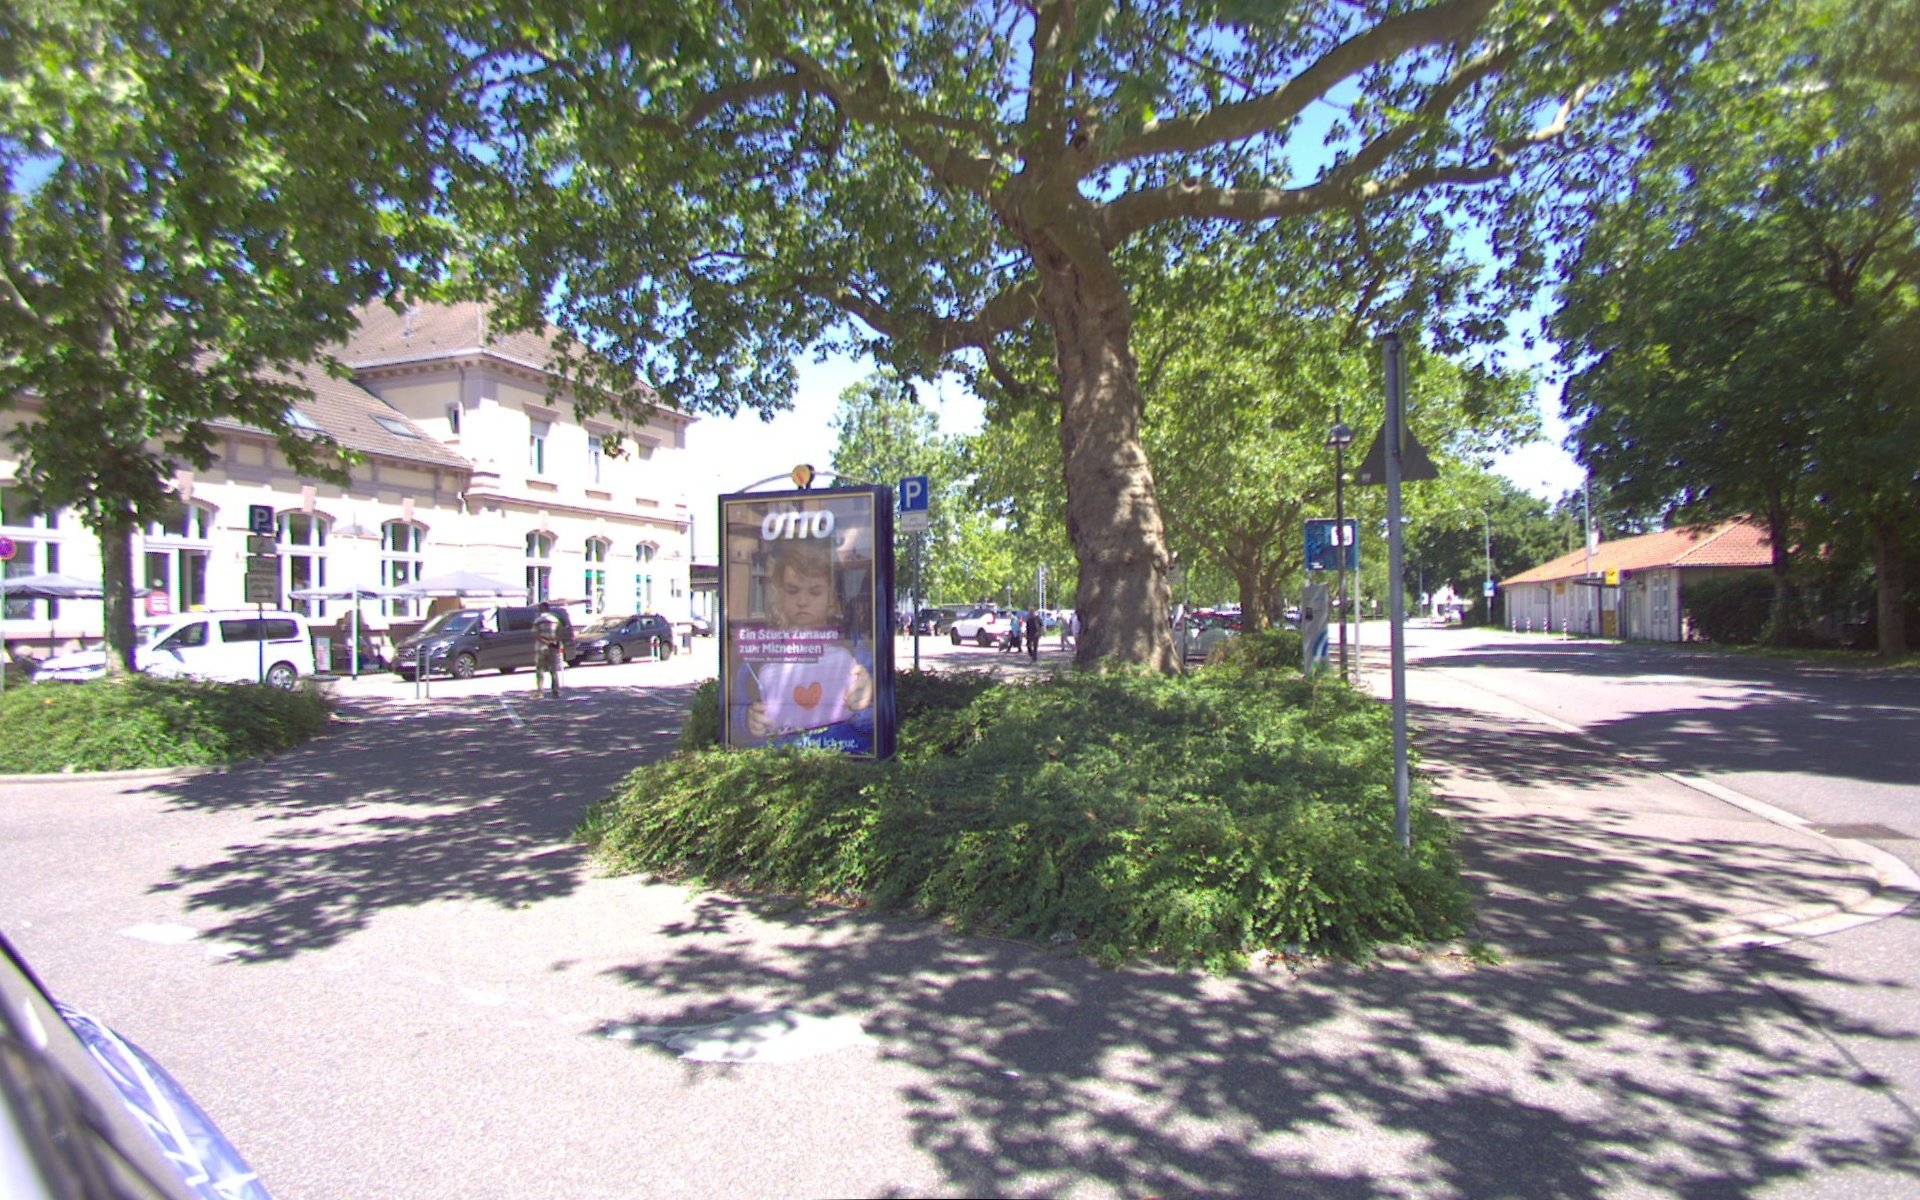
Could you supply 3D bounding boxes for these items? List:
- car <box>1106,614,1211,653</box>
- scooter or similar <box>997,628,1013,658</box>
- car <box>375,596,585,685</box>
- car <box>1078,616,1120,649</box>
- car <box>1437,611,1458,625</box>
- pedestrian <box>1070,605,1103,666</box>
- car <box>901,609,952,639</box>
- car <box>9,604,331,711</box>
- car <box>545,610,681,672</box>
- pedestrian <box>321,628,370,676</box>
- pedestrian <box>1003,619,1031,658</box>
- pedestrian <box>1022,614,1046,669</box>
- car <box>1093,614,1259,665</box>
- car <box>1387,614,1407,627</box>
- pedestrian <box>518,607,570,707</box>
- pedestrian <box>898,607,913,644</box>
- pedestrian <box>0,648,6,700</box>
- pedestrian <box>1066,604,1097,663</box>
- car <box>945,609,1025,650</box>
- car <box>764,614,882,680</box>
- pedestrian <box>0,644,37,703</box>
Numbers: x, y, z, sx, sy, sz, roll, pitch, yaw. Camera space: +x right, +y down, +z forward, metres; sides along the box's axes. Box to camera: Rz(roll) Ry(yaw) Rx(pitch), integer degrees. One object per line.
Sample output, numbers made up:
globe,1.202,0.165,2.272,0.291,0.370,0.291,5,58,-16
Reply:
car,8.042,1.345,41.114,3.814,1.471,1.640,-1,-1,-9
scooter or similar,1.689,1.616,38.318,0.431,1.110,0.404,0,-2,-42
car,-12.938,1.084,27.833,2.073,2.140,5.800,-2,-2,13
car,8.517,1.979,62.231,1.712,1.908,4.004,-1,-1,-5
car,64.997,2.412,134.957,1.884,1.788,3.977,-1,-1,17
pedestrian,3.795,1.061,30.453,0.827,1.784,0.852,-1,-1,-1
car,-2.195,1.614,68.110,1.985,1.803,4.220,-4,-1,19
car,-15.765,1.102,20.633,1.799,1.880,5.111,-2,-2,16
car,-11.496,1.351,33.949,2.060,1.854,4.819,-2,-2,13
pedestrian,-18.072,1.511,29.790,0.873,1.382,0.848,0,-1,15
pedestrian,2.147,1.435,37.957,0.691,1.435,0.790,-2,-2,42
pedestrian,2.121,1.171,28.853,0.584,1.560,0.608,-1,-1,15
car,6.607,1.206,31.367,4.711,1.427,1.786,-1,-1,0
car,55.666,2.611,128.878,1.913,1.677,3.977,-1,-1,17
pedestrian,-7.470,1.003,18.158,0.760,1.730,0.817,0,-1,-28
pedestrian,-3.028,1.394,56.183,0.623,2.005,0.614,-3,-2,14
pedestrian,-20.691,1.545,21.074,0.873,1.088,0.848,0,-1,15
pedestrian,3.775,1.032,31.493,0.827,1.784,0.852,-1,-1,0
car,1.027,1.238,43.972,1.770,1.617,4.077,-2,1,-26
car,-3.911,1.226,28.163,1.770,1.554,4.544,-2,1,-27
pedestrian,-19.795,1.500,20.814,0.873,1.170,0.848,0,-1,15
